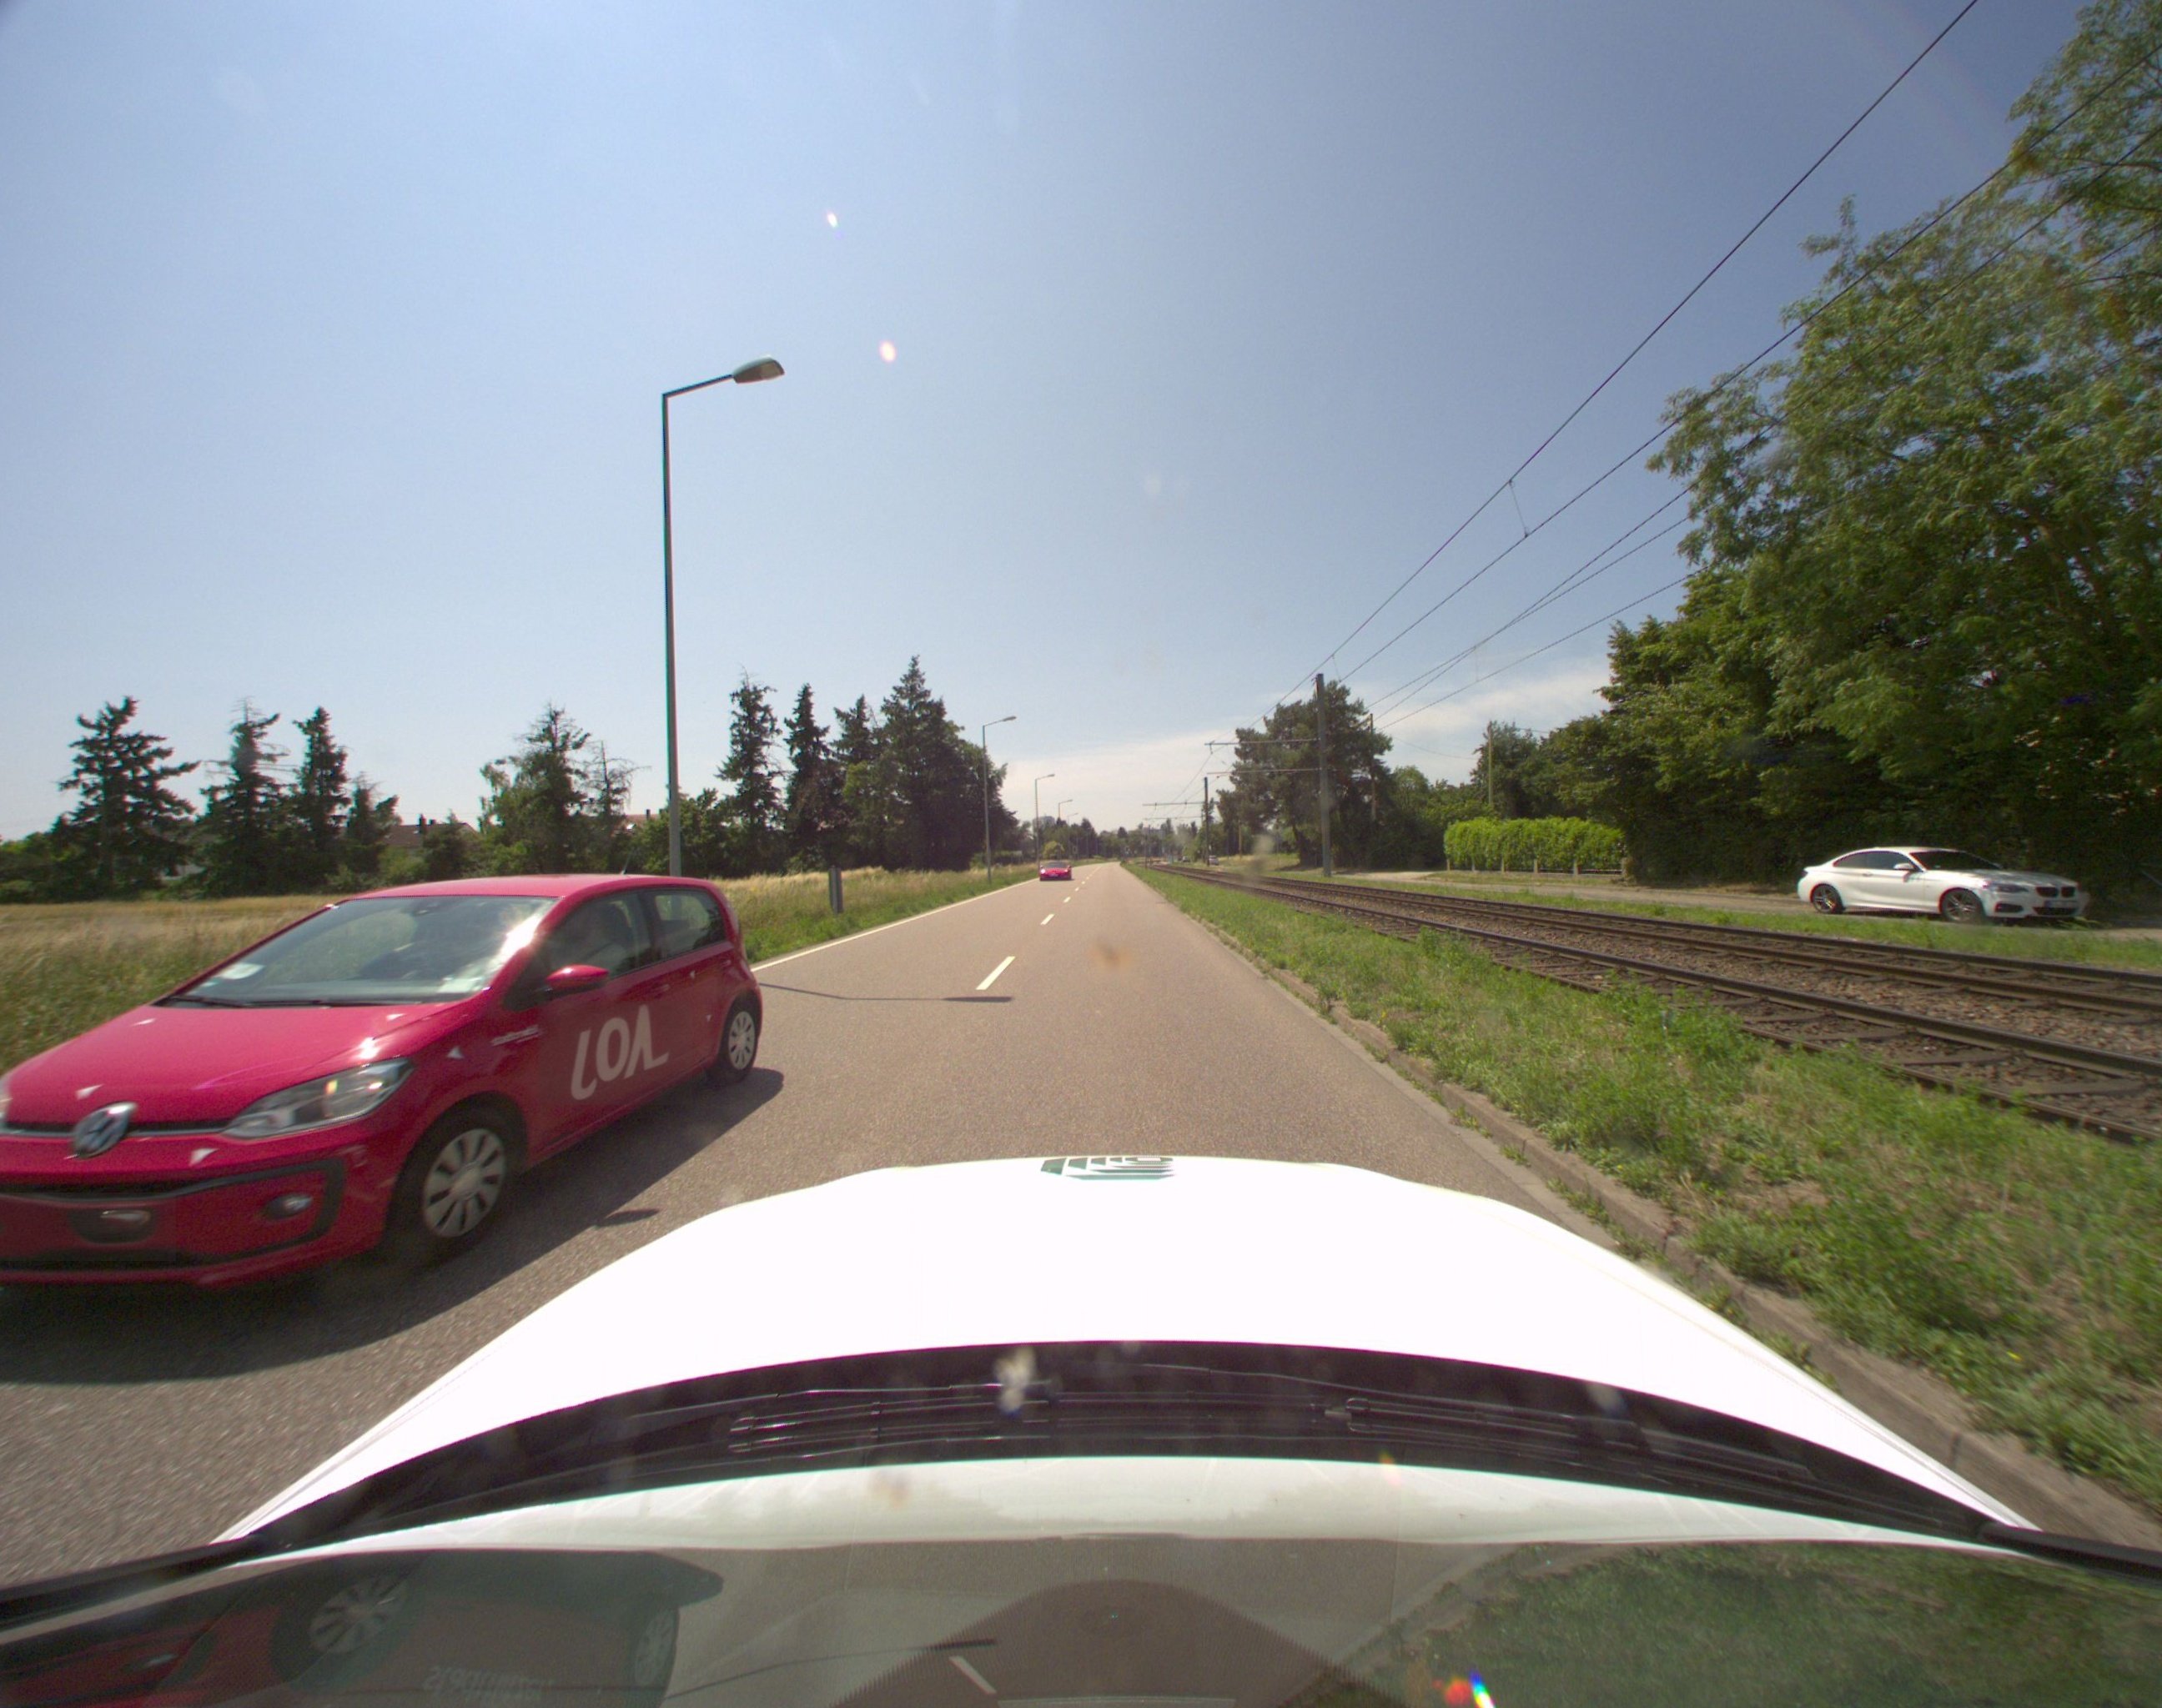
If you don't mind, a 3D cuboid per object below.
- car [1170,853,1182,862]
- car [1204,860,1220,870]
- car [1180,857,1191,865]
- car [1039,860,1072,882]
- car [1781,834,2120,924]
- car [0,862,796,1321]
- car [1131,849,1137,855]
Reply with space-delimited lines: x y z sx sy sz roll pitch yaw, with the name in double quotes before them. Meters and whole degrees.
"car" 17.236 0.698 147.896 1.737 1.559 4.002 -2 -1 2
"car" 20.898 1.822 129.983 1.986 1.508 4.001 -2 -1 2
"car" 23.833 1.546 185.702 1.908 1.662 4.002 -2 -1 2
"car" -1.623 1.077 52.652 1.800 1.286 4.287 -2 -1 2
"car" 16.709 0.470 16.109 1.790 1.450 4.631 -2 -1 2
"car" -3.141 0.794 4.487 1.639 1.400 3.845 -2 -1 2
"car" 15.687 -0.492 240.322 1.546 1.585 3.570 -2 -1 2
